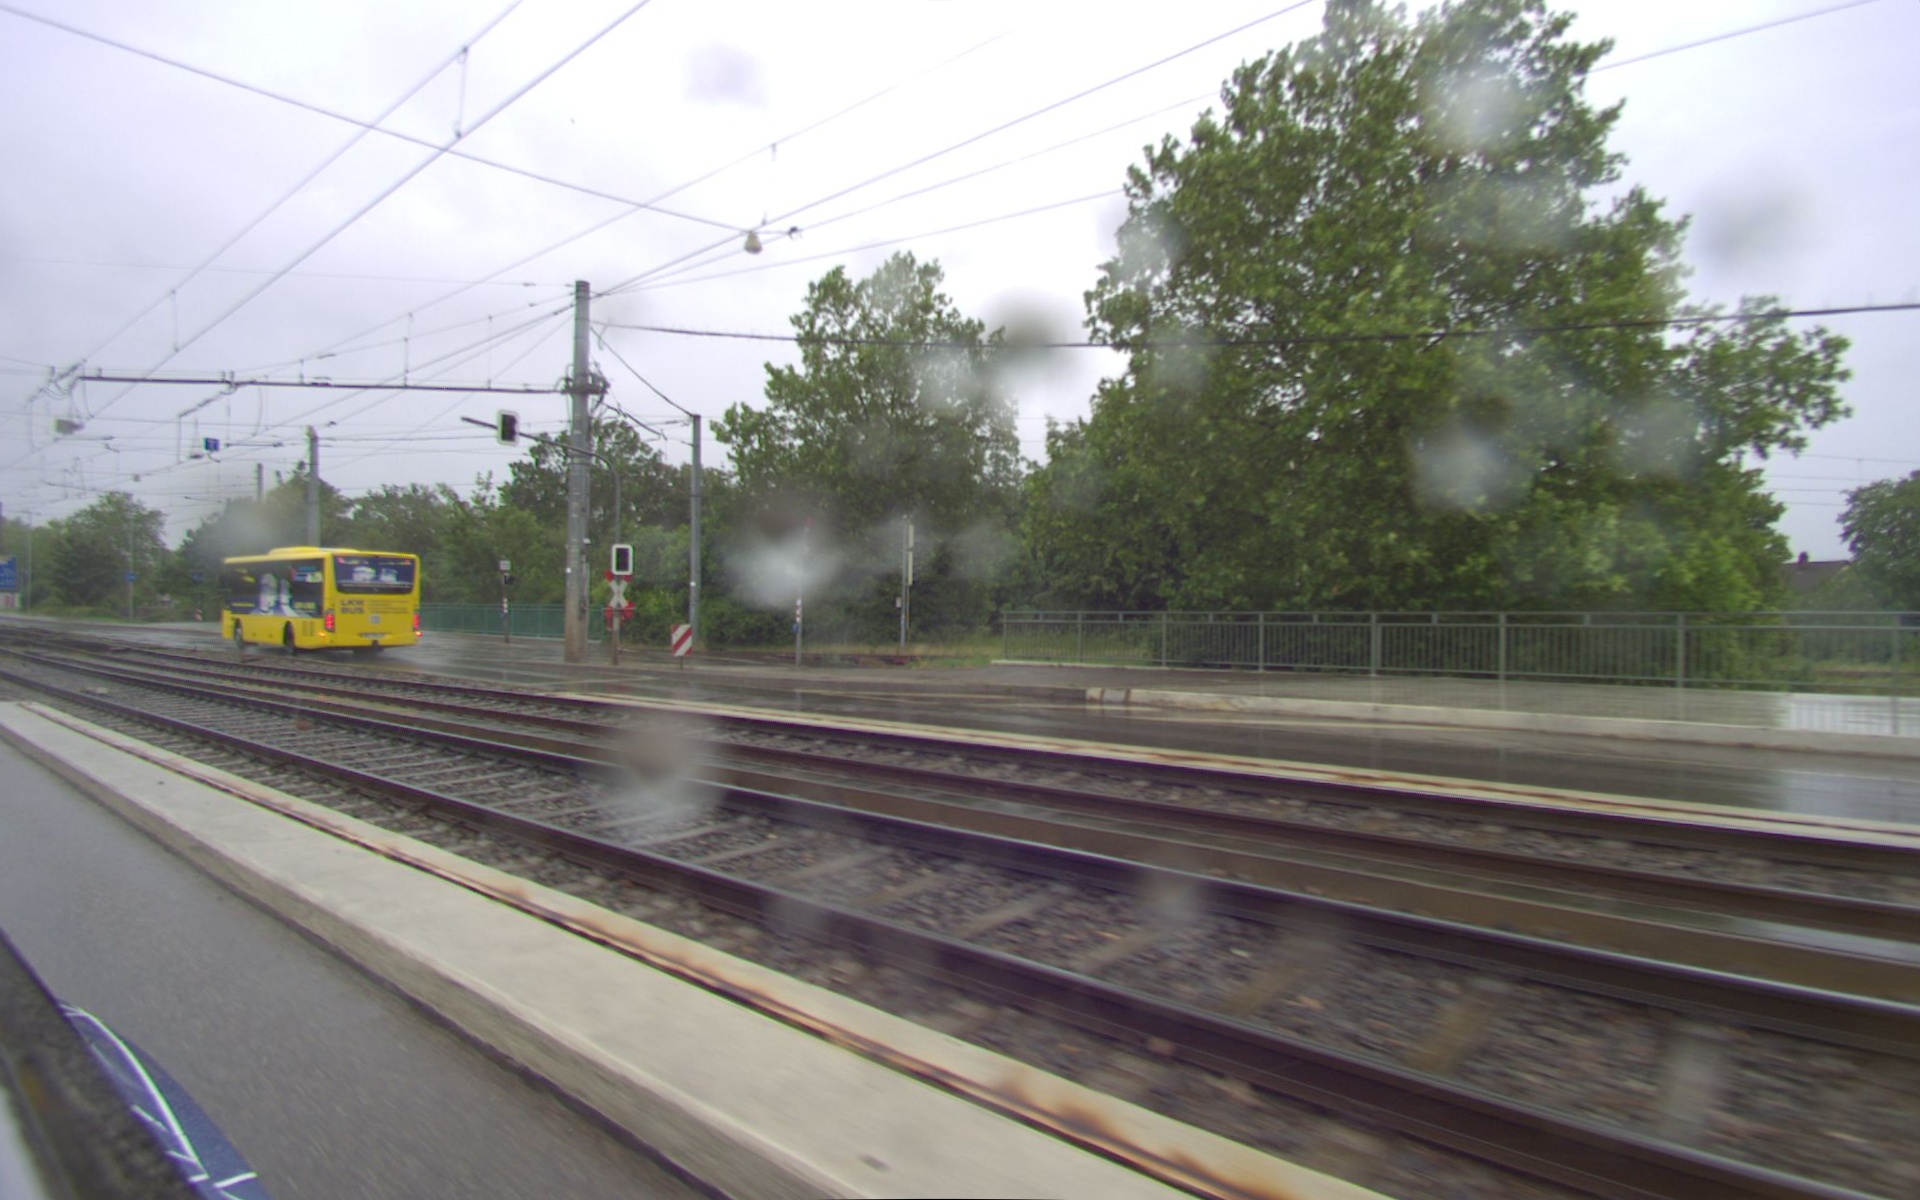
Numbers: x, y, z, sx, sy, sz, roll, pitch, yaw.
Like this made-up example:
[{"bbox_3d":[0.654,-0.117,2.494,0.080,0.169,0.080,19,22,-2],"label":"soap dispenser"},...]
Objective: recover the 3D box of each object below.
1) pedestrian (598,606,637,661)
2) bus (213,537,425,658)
[{"bbox_3d":[-11.861,1.131,35.047,1.042,1.832,0.856,1,2,39],"label":"pedestrian"},{"bbox_3d":[-20.951,0.125,32.661,10.986,3.367,2.680,-2,-3,41],"label":"bus"}]
